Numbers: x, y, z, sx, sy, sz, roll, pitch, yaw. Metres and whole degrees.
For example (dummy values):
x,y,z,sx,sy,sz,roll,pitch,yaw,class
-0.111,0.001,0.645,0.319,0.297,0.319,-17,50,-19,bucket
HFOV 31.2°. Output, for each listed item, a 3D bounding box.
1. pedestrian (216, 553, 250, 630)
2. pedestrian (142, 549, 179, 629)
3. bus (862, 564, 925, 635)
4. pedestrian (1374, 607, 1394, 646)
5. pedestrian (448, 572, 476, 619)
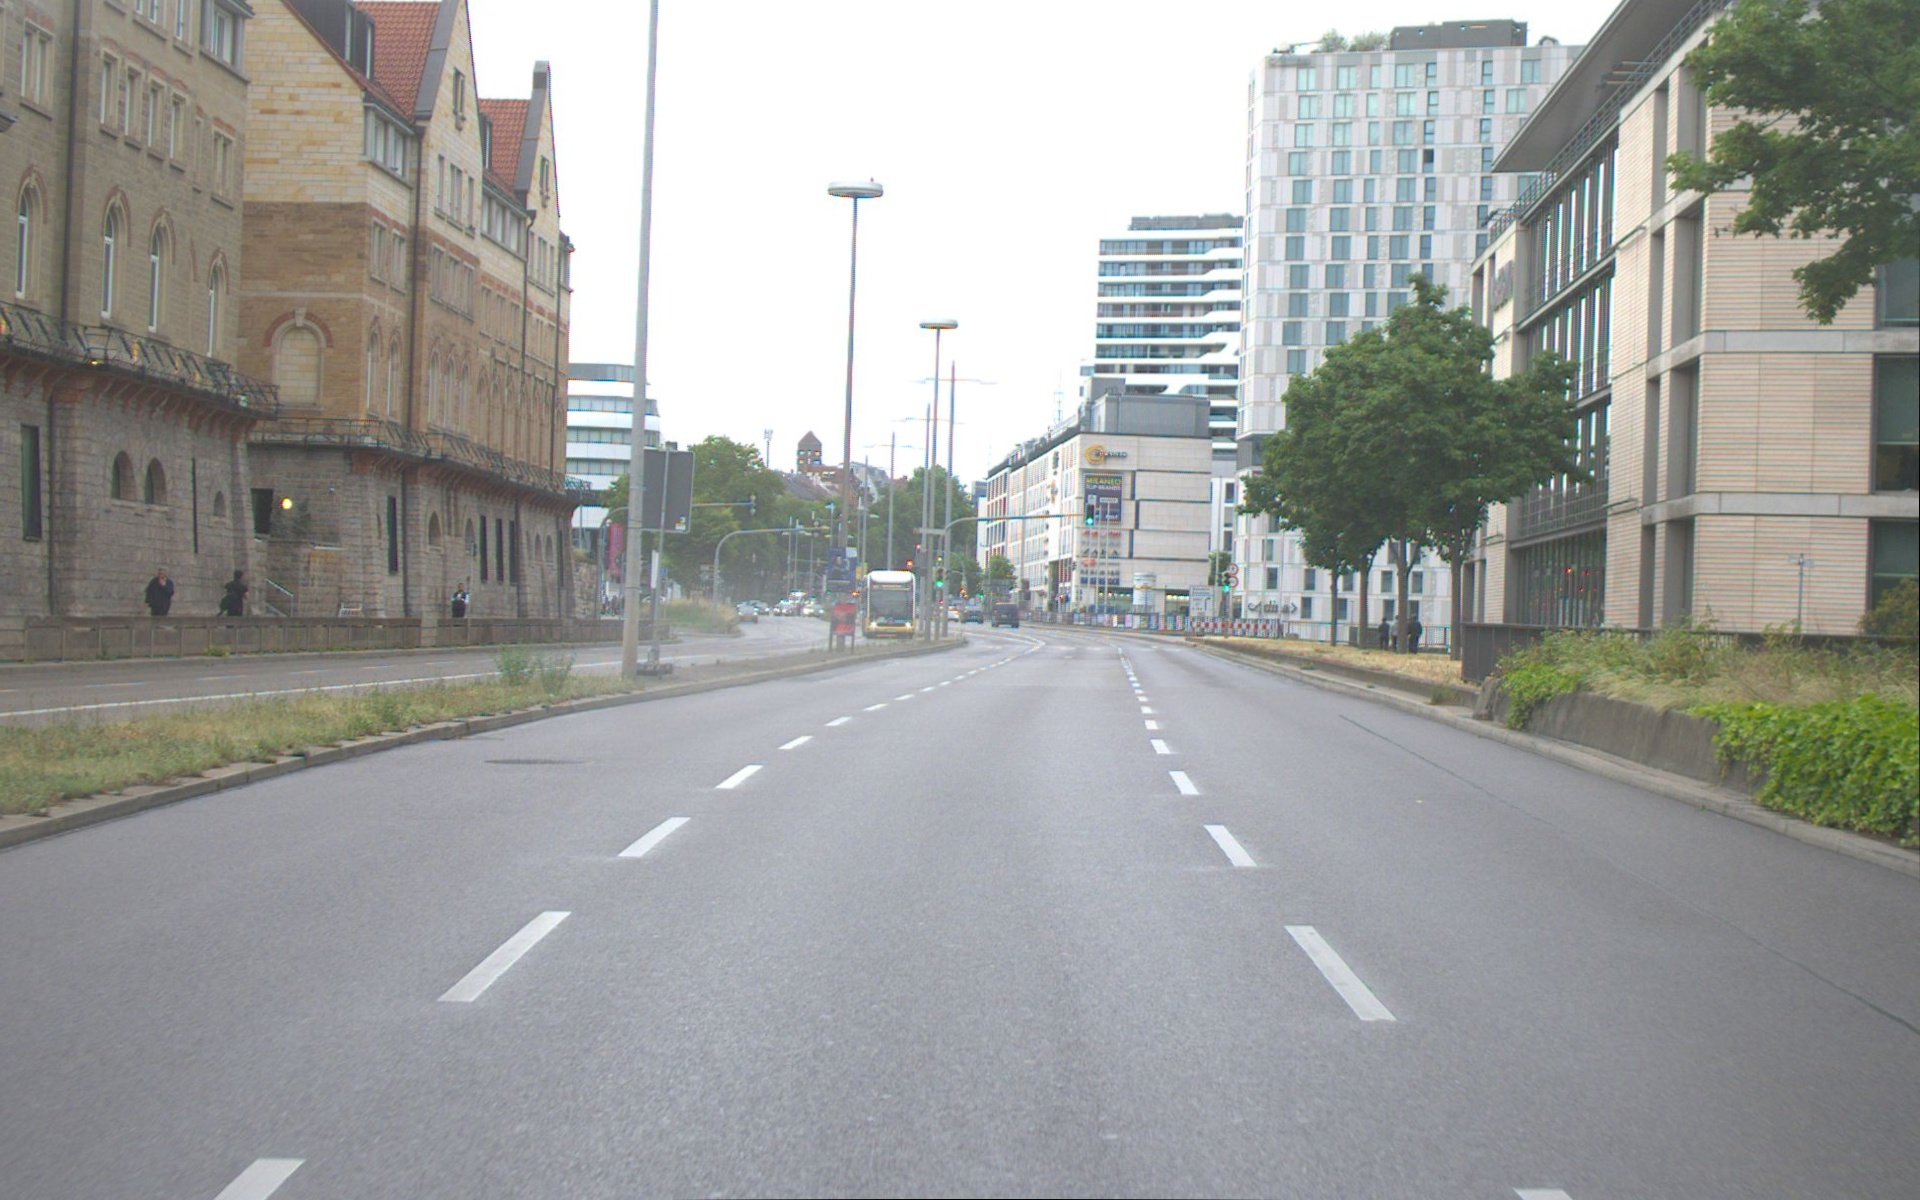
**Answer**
x,y,z,sx,sy,sz,roll,pitch,yaw,class
-16.684,-0.204,78.898,0.640,1.740,0.621,1,1,0,pedestrian
-17.477,-0.239,75.162,0.640,1.740,0.621,1,1,0,pedestrian
-3.404,0.025,178.803,2.698,3.547,10.092,1,-1,2,bus
17.196,1.082,139.494,0.550,1.572,0.669,1,1,37,pedestrian
-15.874,-0.133,109.543,0.754,1.473,0.714,1,1,2,pedestrian
